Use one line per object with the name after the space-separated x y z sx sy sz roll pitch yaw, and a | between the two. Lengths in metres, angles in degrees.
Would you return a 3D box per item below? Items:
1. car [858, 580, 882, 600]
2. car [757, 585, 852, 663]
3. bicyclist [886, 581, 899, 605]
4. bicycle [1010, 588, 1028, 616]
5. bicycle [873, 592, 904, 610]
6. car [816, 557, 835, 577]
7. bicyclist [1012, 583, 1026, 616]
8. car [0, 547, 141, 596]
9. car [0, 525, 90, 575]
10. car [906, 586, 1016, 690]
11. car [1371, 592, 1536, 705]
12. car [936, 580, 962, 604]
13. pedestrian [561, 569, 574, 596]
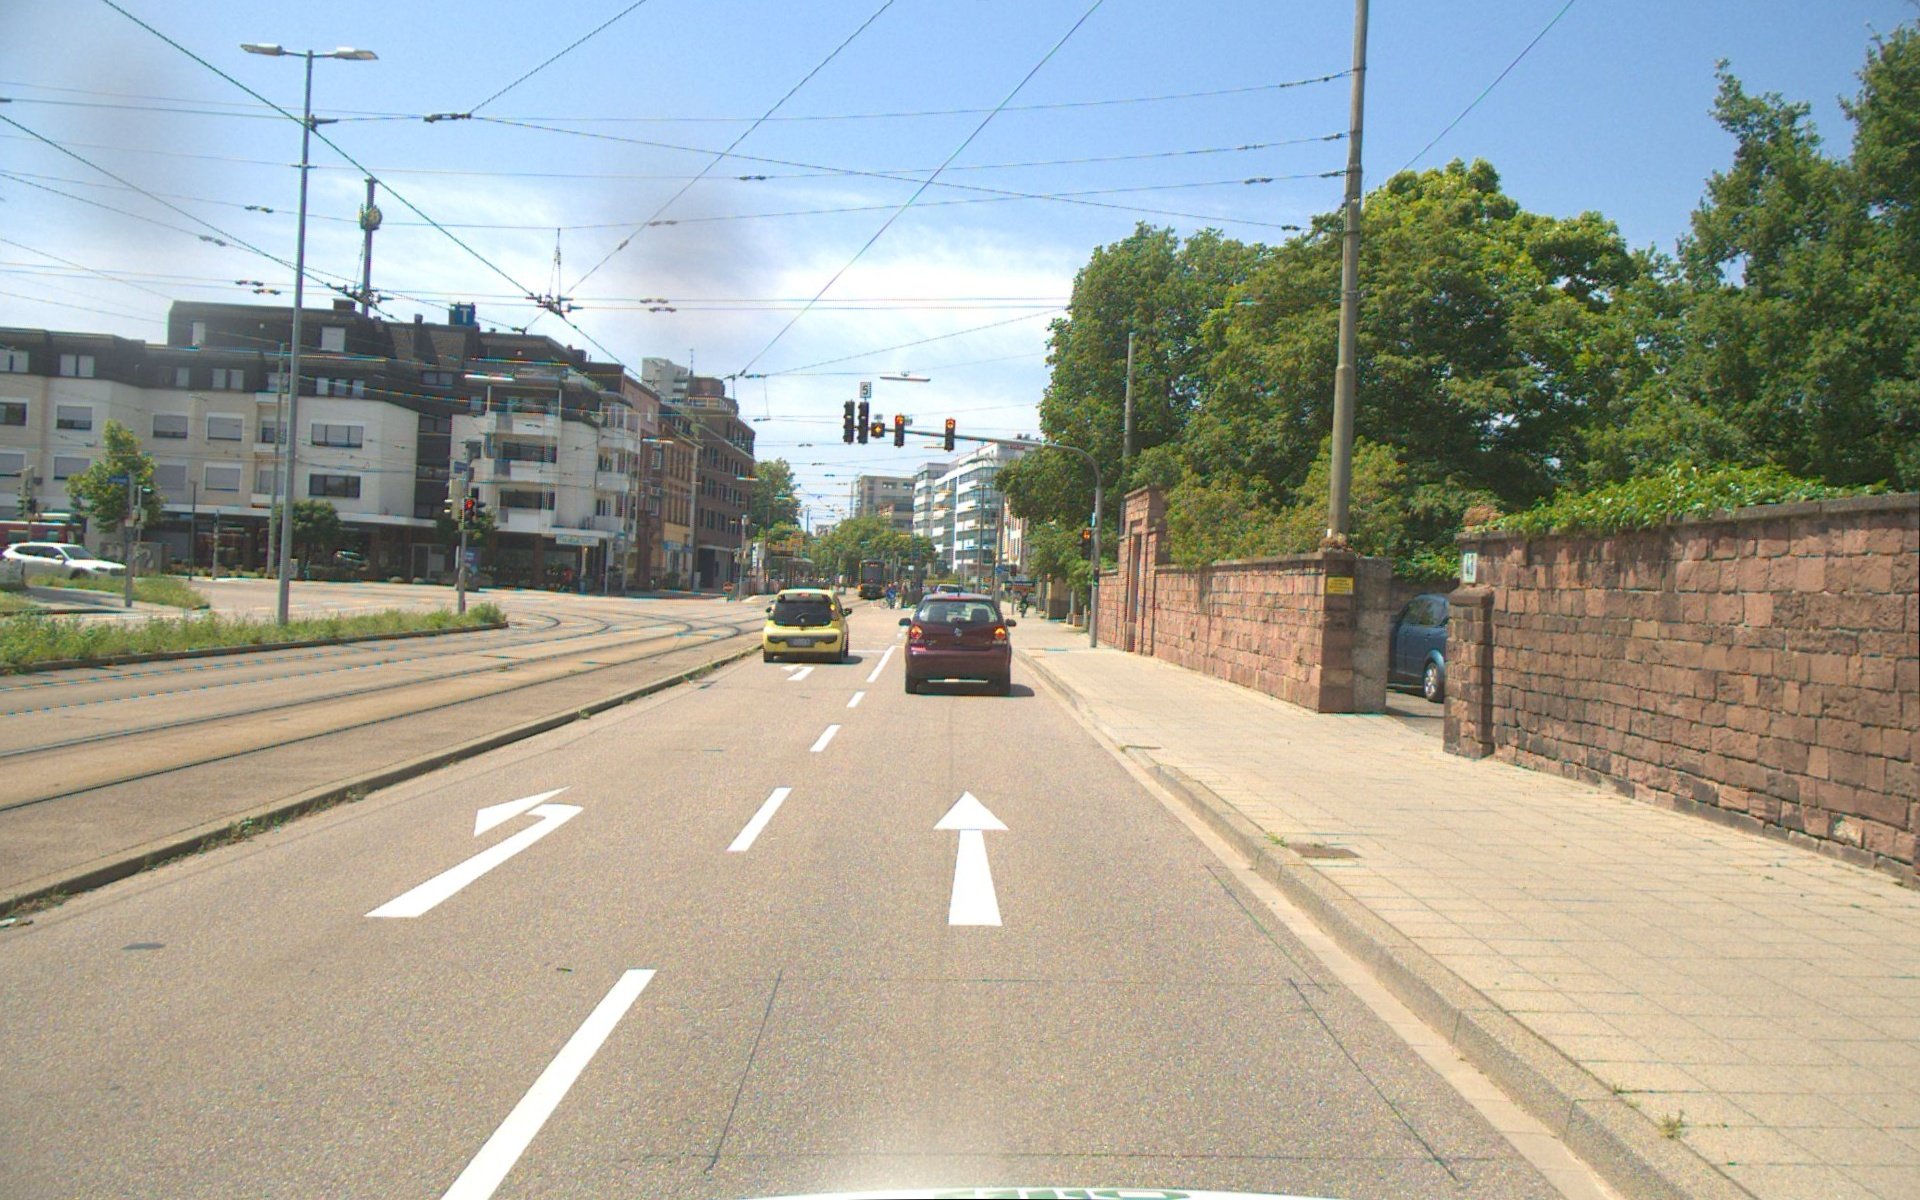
-7.920 -0.856 145.975 1.899 1.670 3.999 1 0 -1 | car
-3.153 0.461 34.040 1.688 1.470 3.292 1 1 -1 | car
-4.088 -0.432 100.016 0.751 1.430 0.506 1 -1 -4 | bicyclist
3.379 0.122 94.561 0.818 1.552 3.999 1 0 0 | bicycle
-4.319 0.046 99.998 1.829 1.025 0.578 1 0 -5 | bicycle
-14.922 -3.653 183.250 1.699 2.048 4.000 2 1 0 | car
3.316 -0.038 93.216 0.707 1.850 0.888 1 -1 0 | bicyclist
-31.820 -1.012 59.022 4.457 1.638 1.731 1 0 11 | car
-46.668 -2.505 82.801 4.962 2.382 2.244 1 0 -2 | car
-0.016 0.537 25.900 1.577 1.489 4.085 0 1 -1 | car
7.389 0.685 25.004 1.451 1.508 2.943 3 1 -3 | car
-0.704 -0.505 102.624 1.540 1.440 3.719 0 1 -1 | car
-23.638 -1.056 99.585 0.476 1.568 0.535 1 -1 40 | pedestrian
